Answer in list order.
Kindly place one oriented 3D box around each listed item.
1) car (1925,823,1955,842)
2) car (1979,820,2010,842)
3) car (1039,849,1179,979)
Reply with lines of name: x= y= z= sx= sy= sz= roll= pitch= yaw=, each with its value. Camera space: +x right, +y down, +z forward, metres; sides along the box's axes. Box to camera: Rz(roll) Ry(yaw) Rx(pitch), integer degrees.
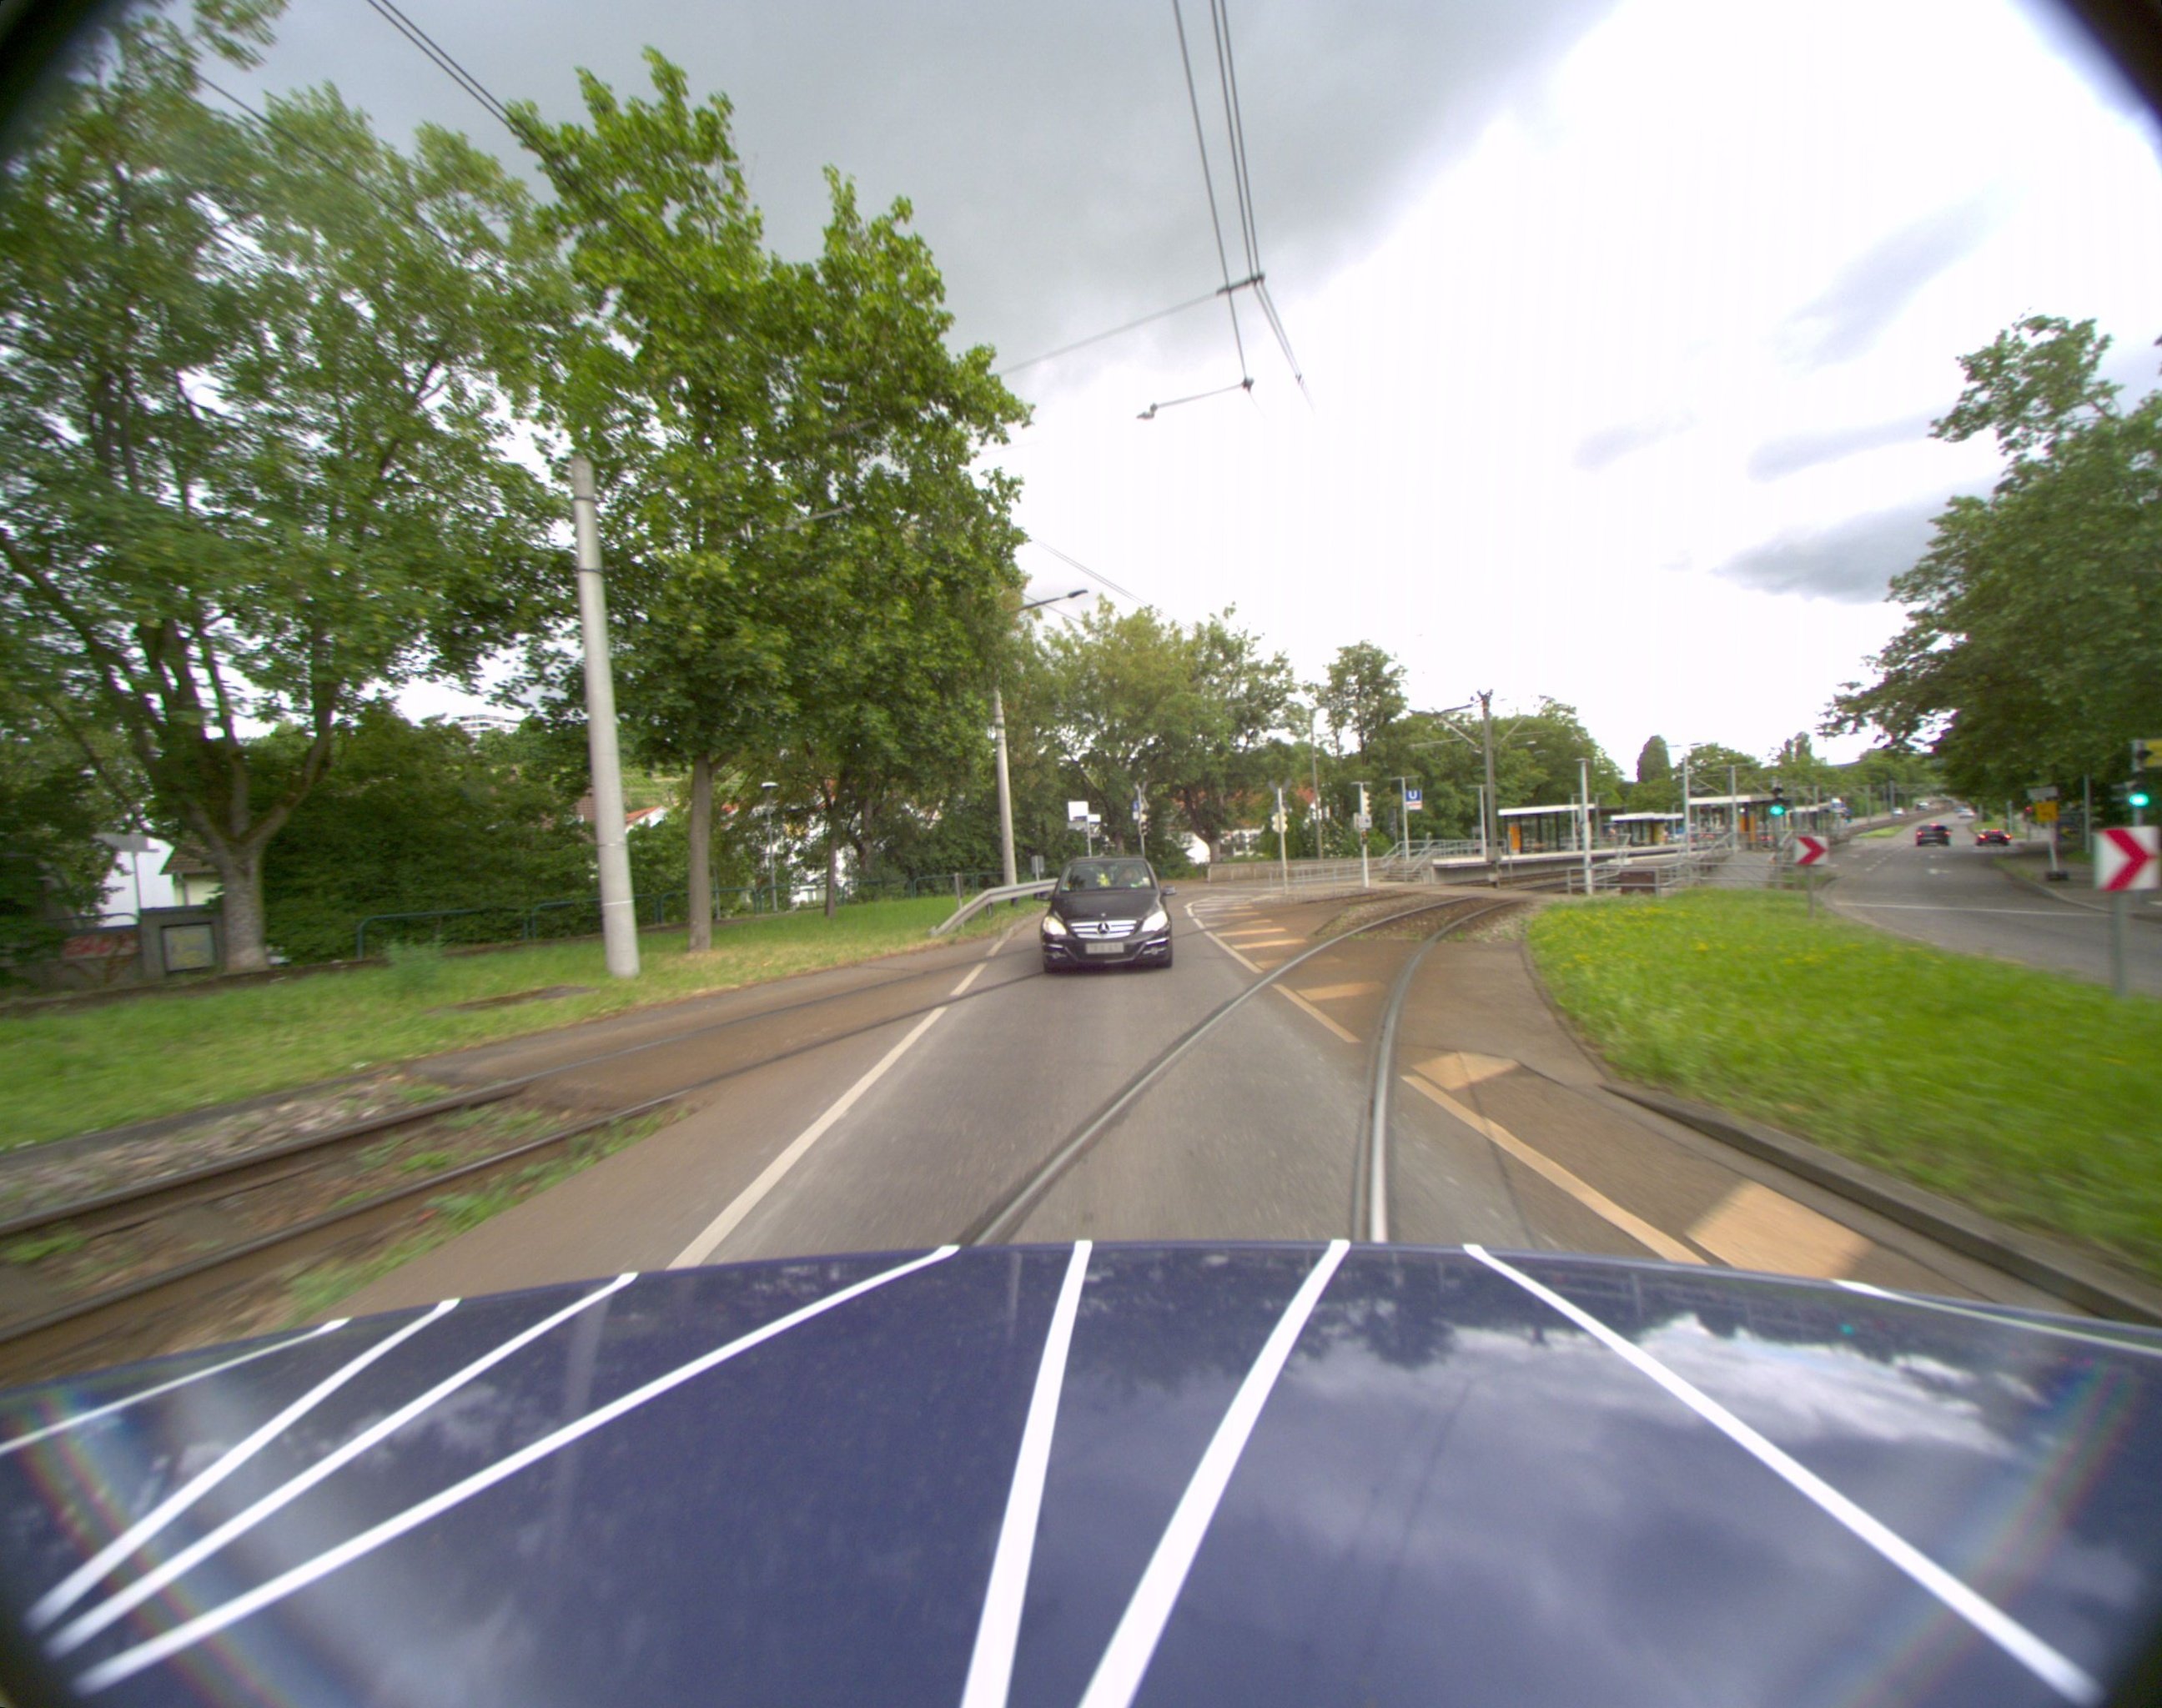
car: x=78.257 y=-1.968 z=69.216 sx=3.801 sy=1.689 sz=1.767 roll=-2 pitch=1 yaw=-40
car: x=79.882 y=-2.053 z=66.478 sx=3.807 sy=1.829 sz=1.737 roll=-2 pitch=1 yaw=-40
car: x=0.616 y=0.747 z=11.743 sx=1.710 sy=1.574 sz=4.444 roll=-2 pitch=0 yaw=7
